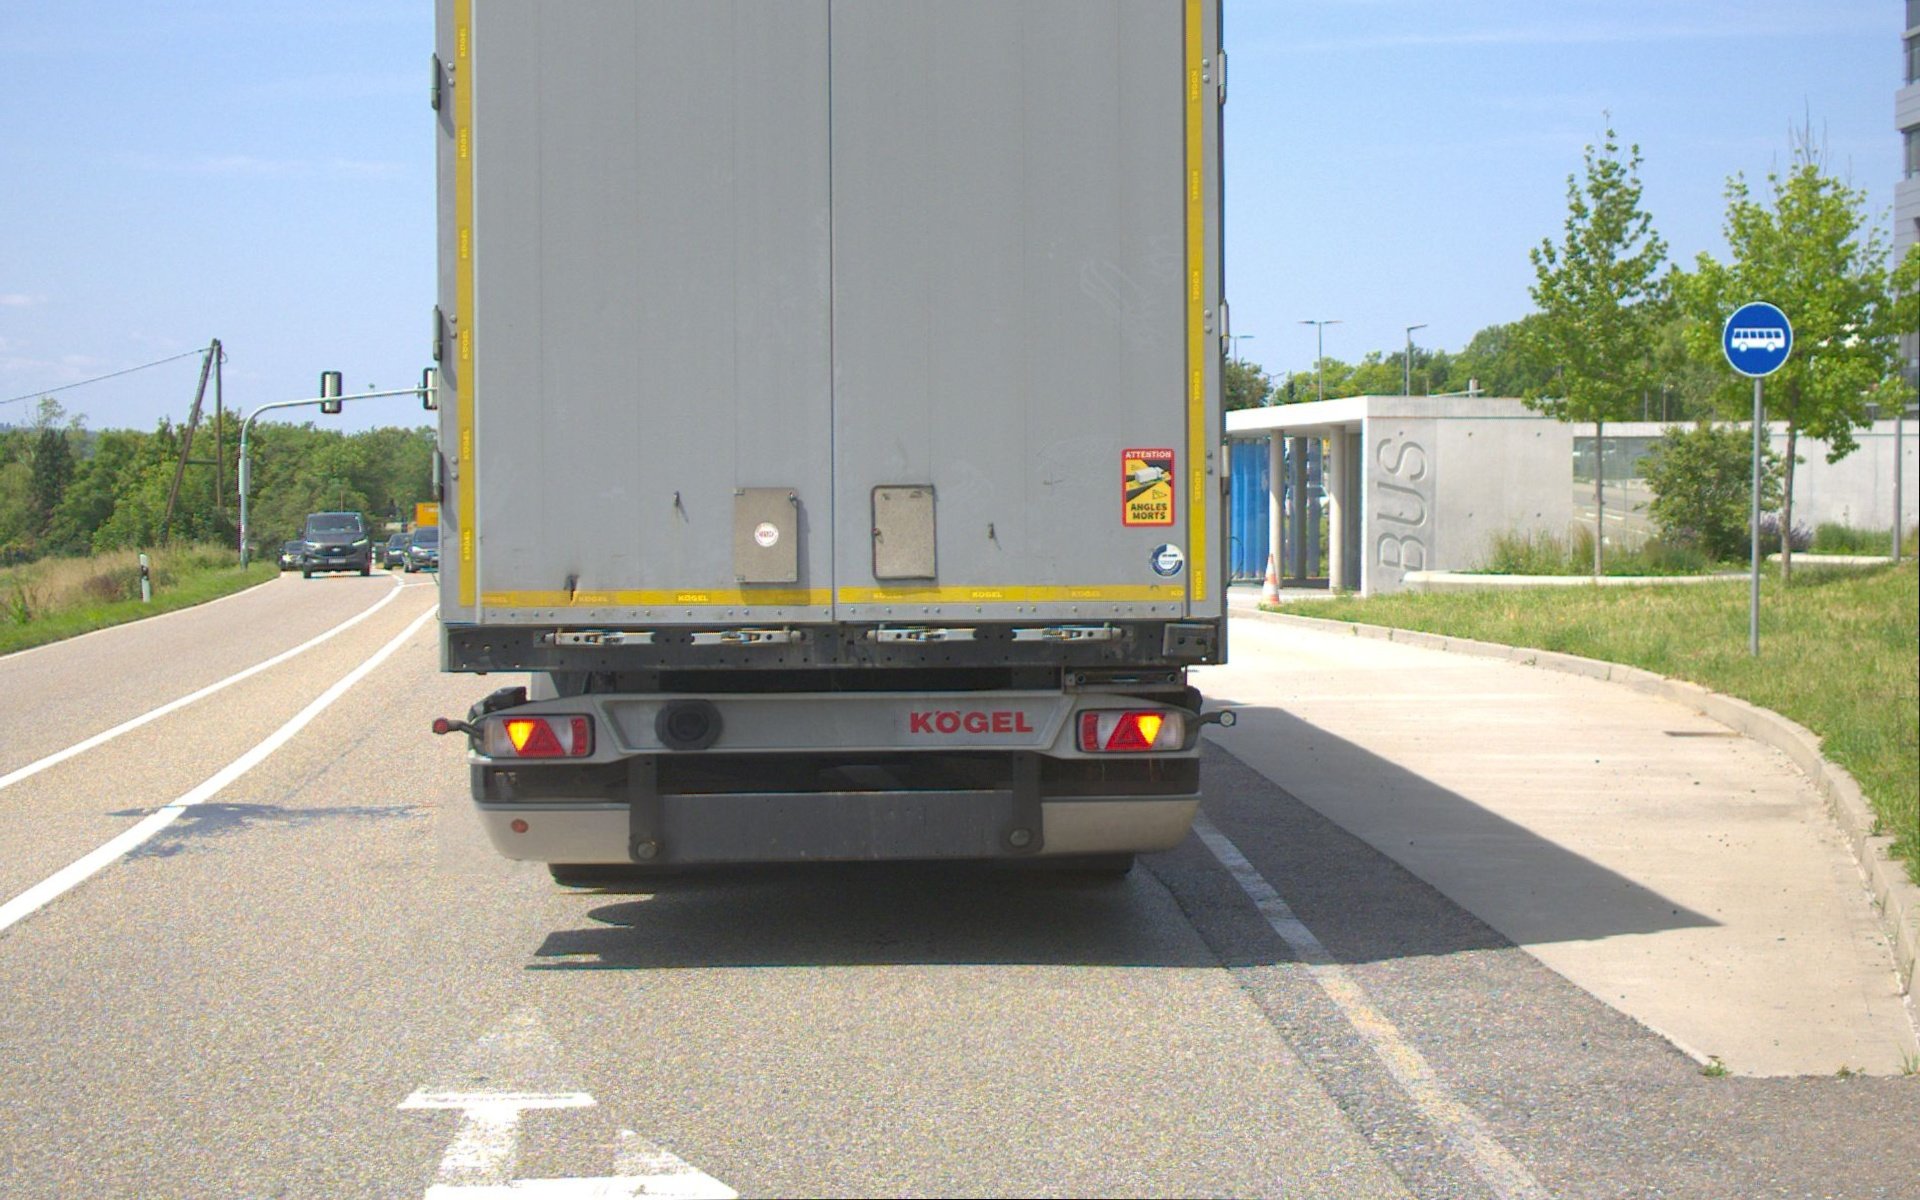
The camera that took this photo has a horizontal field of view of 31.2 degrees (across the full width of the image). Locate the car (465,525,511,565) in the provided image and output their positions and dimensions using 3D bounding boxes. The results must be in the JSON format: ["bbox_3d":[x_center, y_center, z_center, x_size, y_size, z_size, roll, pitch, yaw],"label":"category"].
[{"bbox_3d":[-25.355,-2.959,184.715,2.171,2.006,4.527,-2,2,-5],"label":"car"}]

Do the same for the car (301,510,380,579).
[{"bbox_3d":[-18.832,-1.726,104.659,1.993,1.971,5.280,-2,2,-7],"label":"car"}]

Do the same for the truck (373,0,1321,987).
[{"bbox_3d":[-0.503,-1.123,15.047,2.907,4.394,8.861,0,2,-2],"label":"truck"}]

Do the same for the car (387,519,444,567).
[{"bbox_3d":[-22.130,-2.350,139.846,1.993,1.809,4.297,-3,2,-6],"label":"car"}]

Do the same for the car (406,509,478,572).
[{"bbox_3d":[-16.945,-1.950,112.579,1.993,1.943,4.504,-2,2,-5],"label":"car"}]

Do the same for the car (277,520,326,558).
[{"bbox_3d":[-32.719,-3.053,170.960,1.993,1.781,4.001,-2,1,-6],"label":"car"}]
